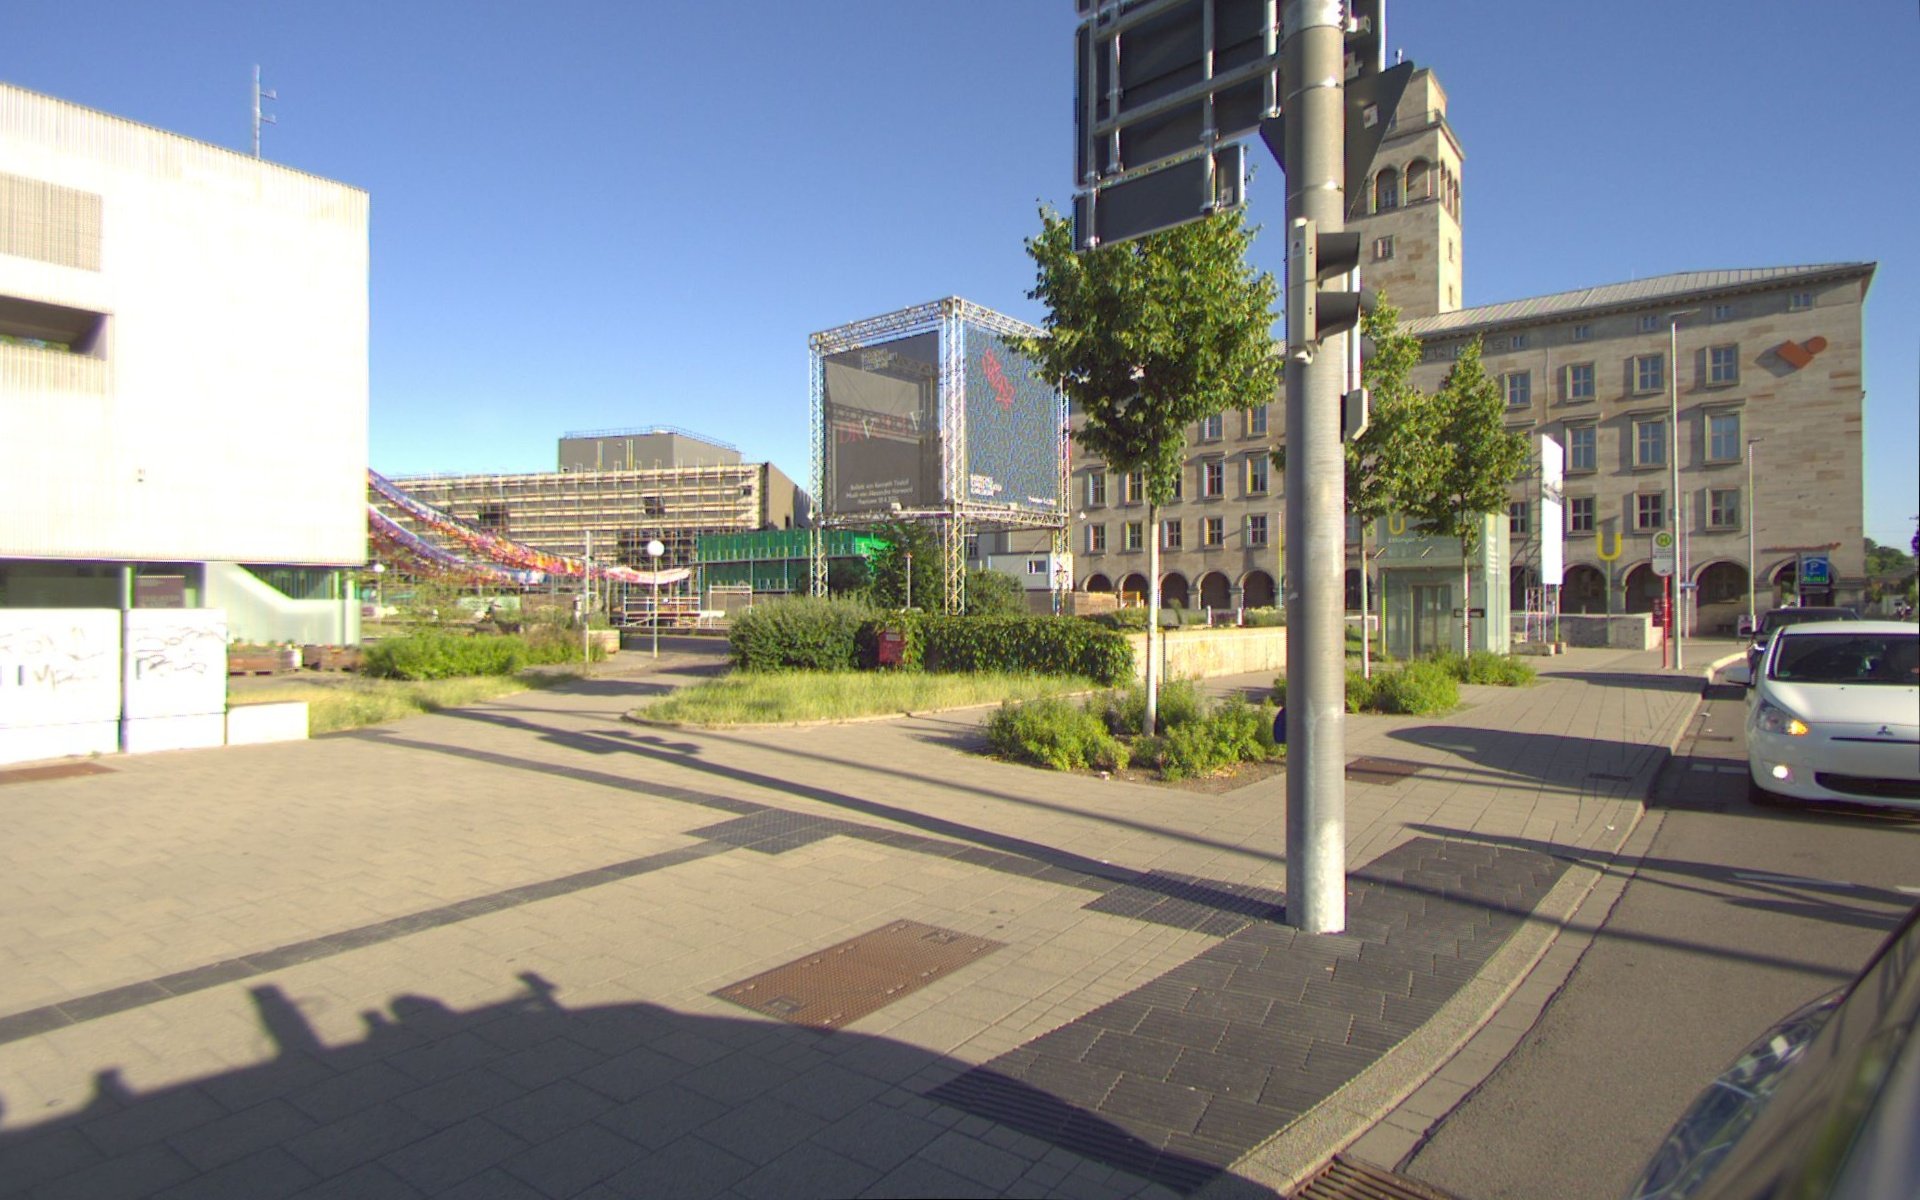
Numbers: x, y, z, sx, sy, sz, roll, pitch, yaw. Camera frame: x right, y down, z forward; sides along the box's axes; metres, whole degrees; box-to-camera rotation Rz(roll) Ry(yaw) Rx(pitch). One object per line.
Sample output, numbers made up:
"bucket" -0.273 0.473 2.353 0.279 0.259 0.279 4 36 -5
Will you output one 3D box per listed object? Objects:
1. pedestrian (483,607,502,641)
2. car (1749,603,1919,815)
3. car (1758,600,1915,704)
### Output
"pedestrian" -19.133 0.978 41.431 0.634 1.399 0.632 0 0 -15
"car" 7.997 0.785 8.751 1.653 1.490 3.911 -3 -2 40
"car" 16.173 0.849 18.863 1.990 1.683 4.724 0 0 39
